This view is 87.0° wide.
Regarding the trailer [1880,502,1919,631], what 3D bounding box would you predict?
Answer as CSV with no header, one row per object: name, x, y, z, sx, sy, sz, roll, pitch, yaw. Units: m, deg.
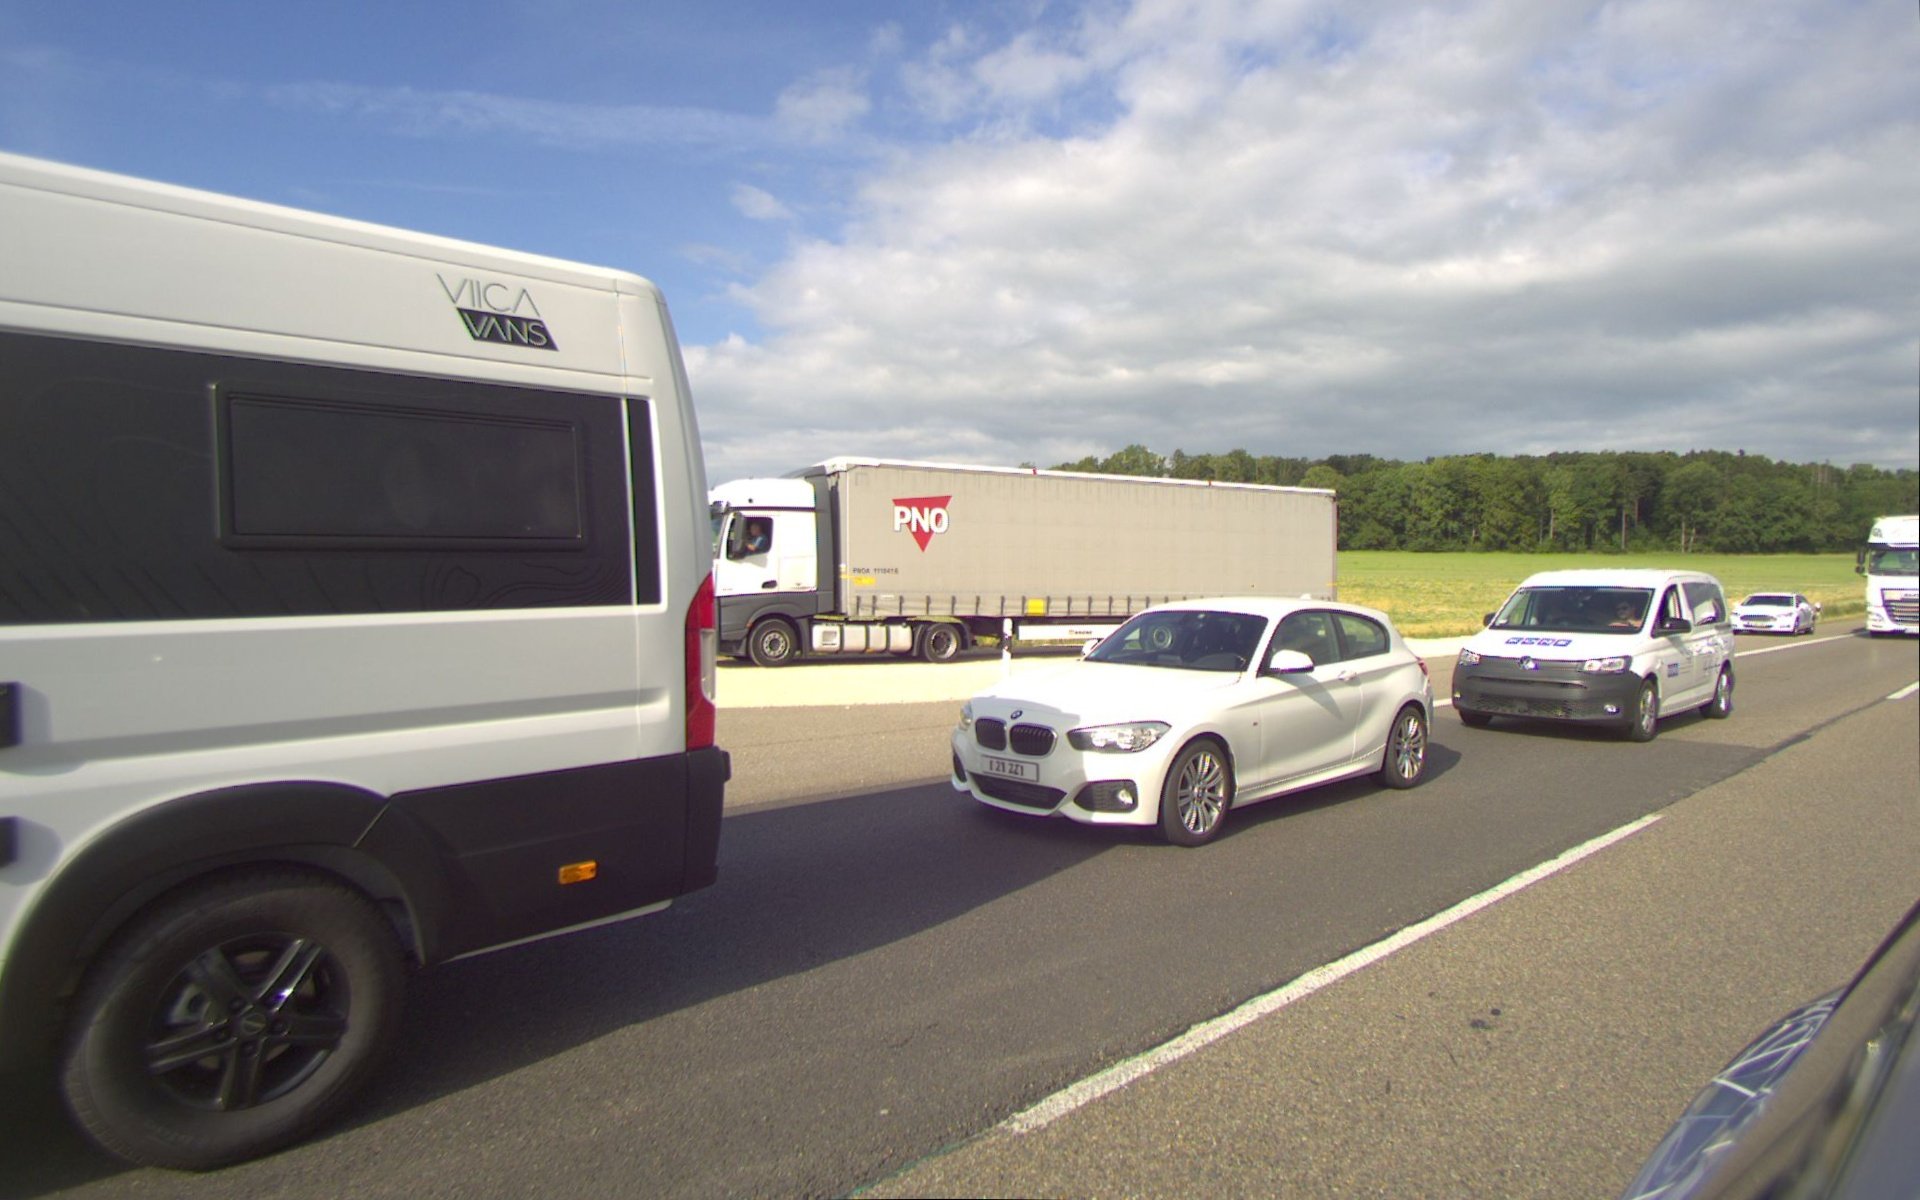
trailer,36.630,-1.223,37.138,13.777,4.212,2.739,-1,1,-41

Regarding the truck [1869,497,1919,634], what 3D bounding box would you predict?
truck,31.900,-1.111,32.965,5.667,4.226,2.733,-1,1,-41

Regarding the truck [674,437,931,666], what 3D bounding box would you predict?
truck,-3.275,-0.907,20.923,4.662,4.226,2.727,0,0,-26

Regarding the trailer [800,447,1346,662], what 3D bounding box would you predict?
trailer,3.155,-0.911,24.052,13.543,4.213,2.748,0,0,-26

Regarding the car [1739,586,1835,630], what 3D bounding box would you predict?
car,28.759,0.244,35.143,4.550,1.450,1.869,0,0,-41

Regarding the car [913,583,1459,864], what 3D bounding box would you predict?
car,1.809,0.619,7.241,4.158,1.450,1.706,0,0,-41

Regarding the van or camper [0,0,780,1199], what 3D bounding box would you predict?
van or camper,-3.668,0.009,2.211,6.222,2.714,2.219,0,1,-41

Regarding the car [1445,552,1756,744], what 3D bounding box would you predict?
car,7.461,0.431,11.584,4.620,1.779,1.727,0,0,-41
